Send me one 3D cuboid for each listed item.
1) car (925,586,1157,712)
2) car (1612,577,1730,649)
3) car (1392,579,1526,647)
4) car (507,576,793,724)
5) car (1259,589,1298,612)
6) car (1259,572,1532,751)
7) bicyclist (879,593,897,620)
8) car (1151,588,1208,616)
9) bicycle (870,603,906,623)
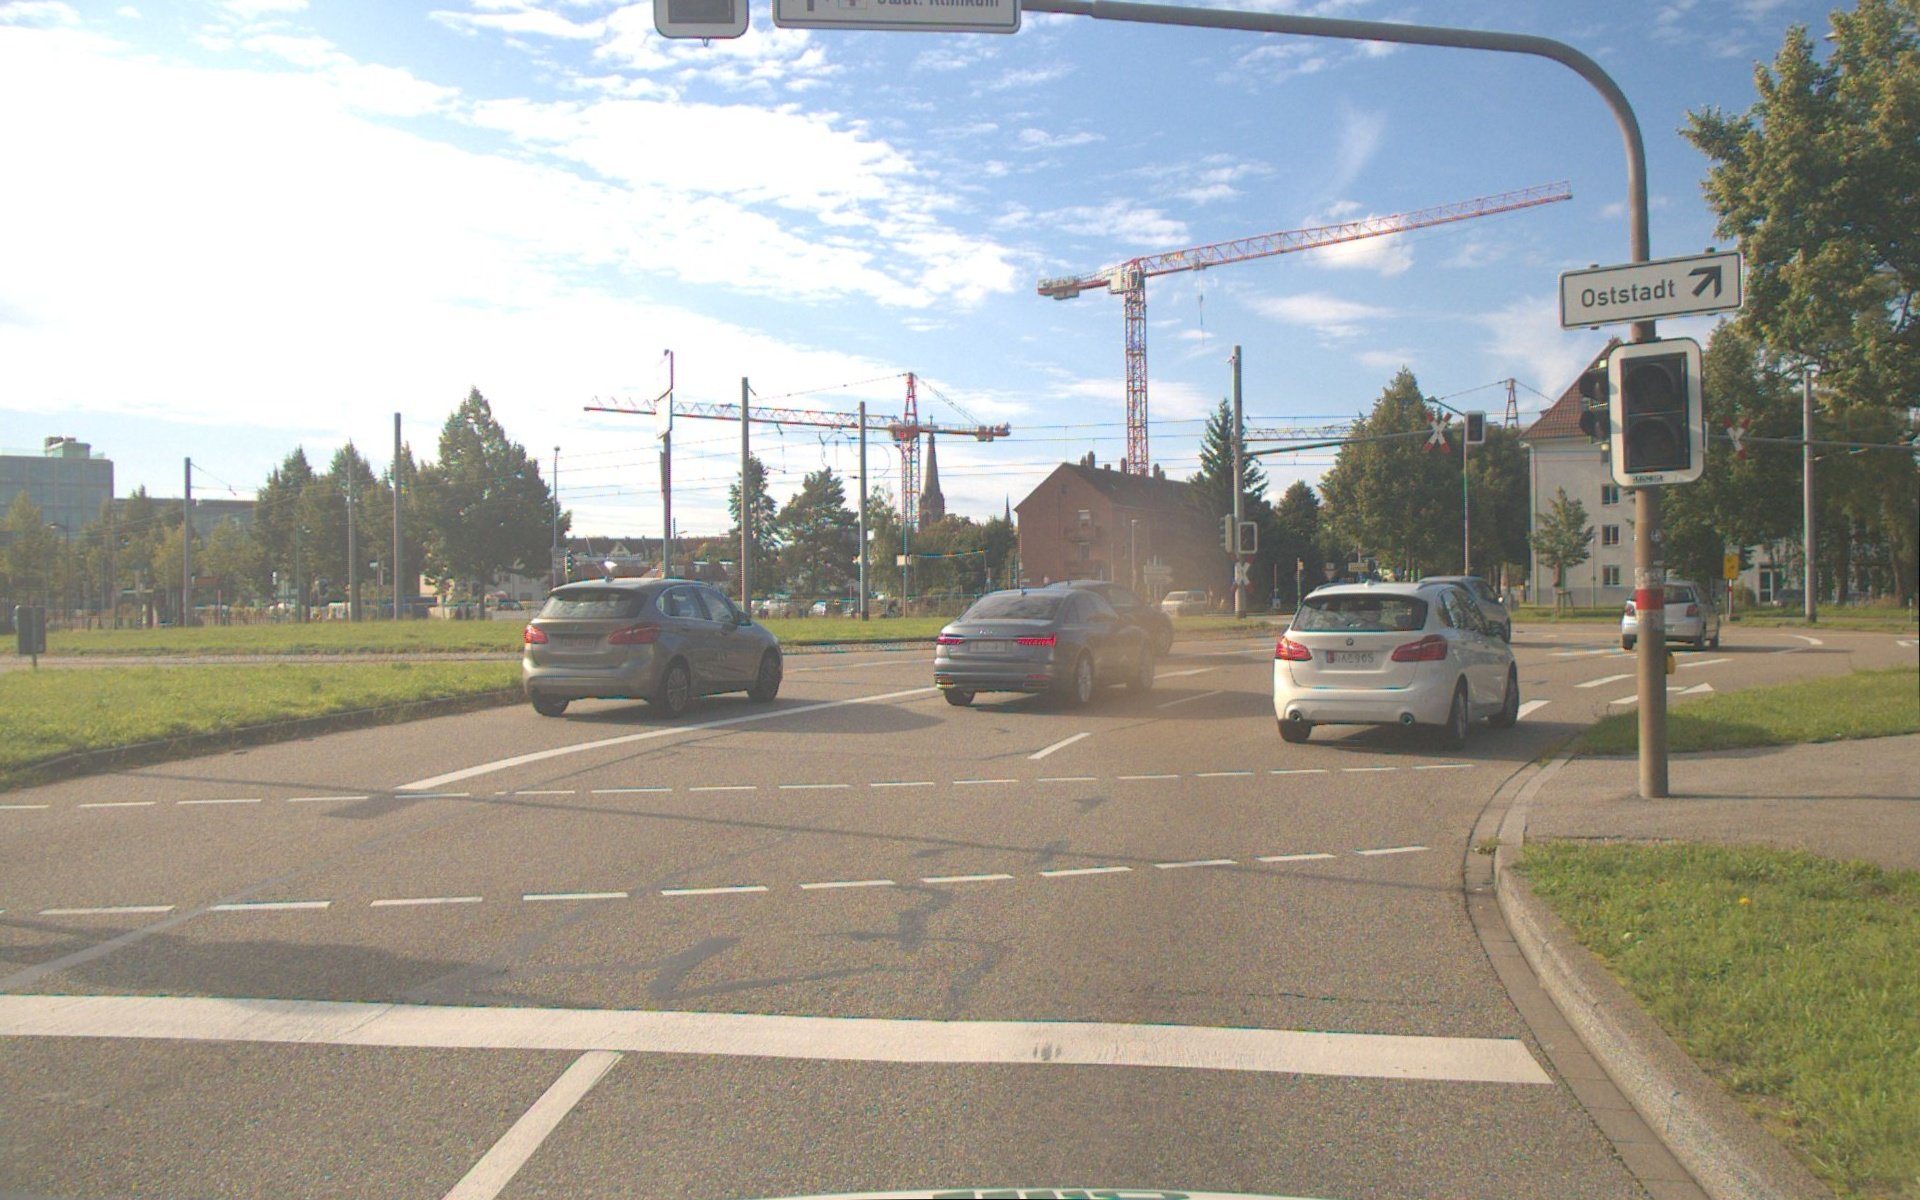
[{"bbox_3d":[1.213,0.578,21.980,1.812,1.470,4.716,0,0,19],"label":"car"},{"bbox_3d":[15.555,0.267,36.057,1.816,1.451,4.445,0,0,31],"label":"car"},{"bbox_3d":[11.710,0.285,38.641,1.818,1.504,4.441,0,0,33],"label":"car"},{"bbox_3d":[-3.603,0.538,20.008,1.730,1.600,4.069,0,0,17],"label":"car"},{"bbox_3d":[27.121,0.011,140.789,1.860,1.936,4.653,0,0,29],"label":"car"},{"bbox_3d":[4.667,0.554,17.240,1.815,1.600,4.449,0,0,28],"label":"car"},{"bbox_3d":[-4.444,0.405,101.725,0.936,1.602,0.773,-2,0,9],"label":"bicyclist"},{"bbox_3d":[15.638,0.121,117.461,1.866,1.936,4.637,0,0,39],"label":"car"},{"bbox_3d":[-4.424,0.793,101.723,2.097,1.157,0.773,-2,0,9],"label":"bicycle"}]
